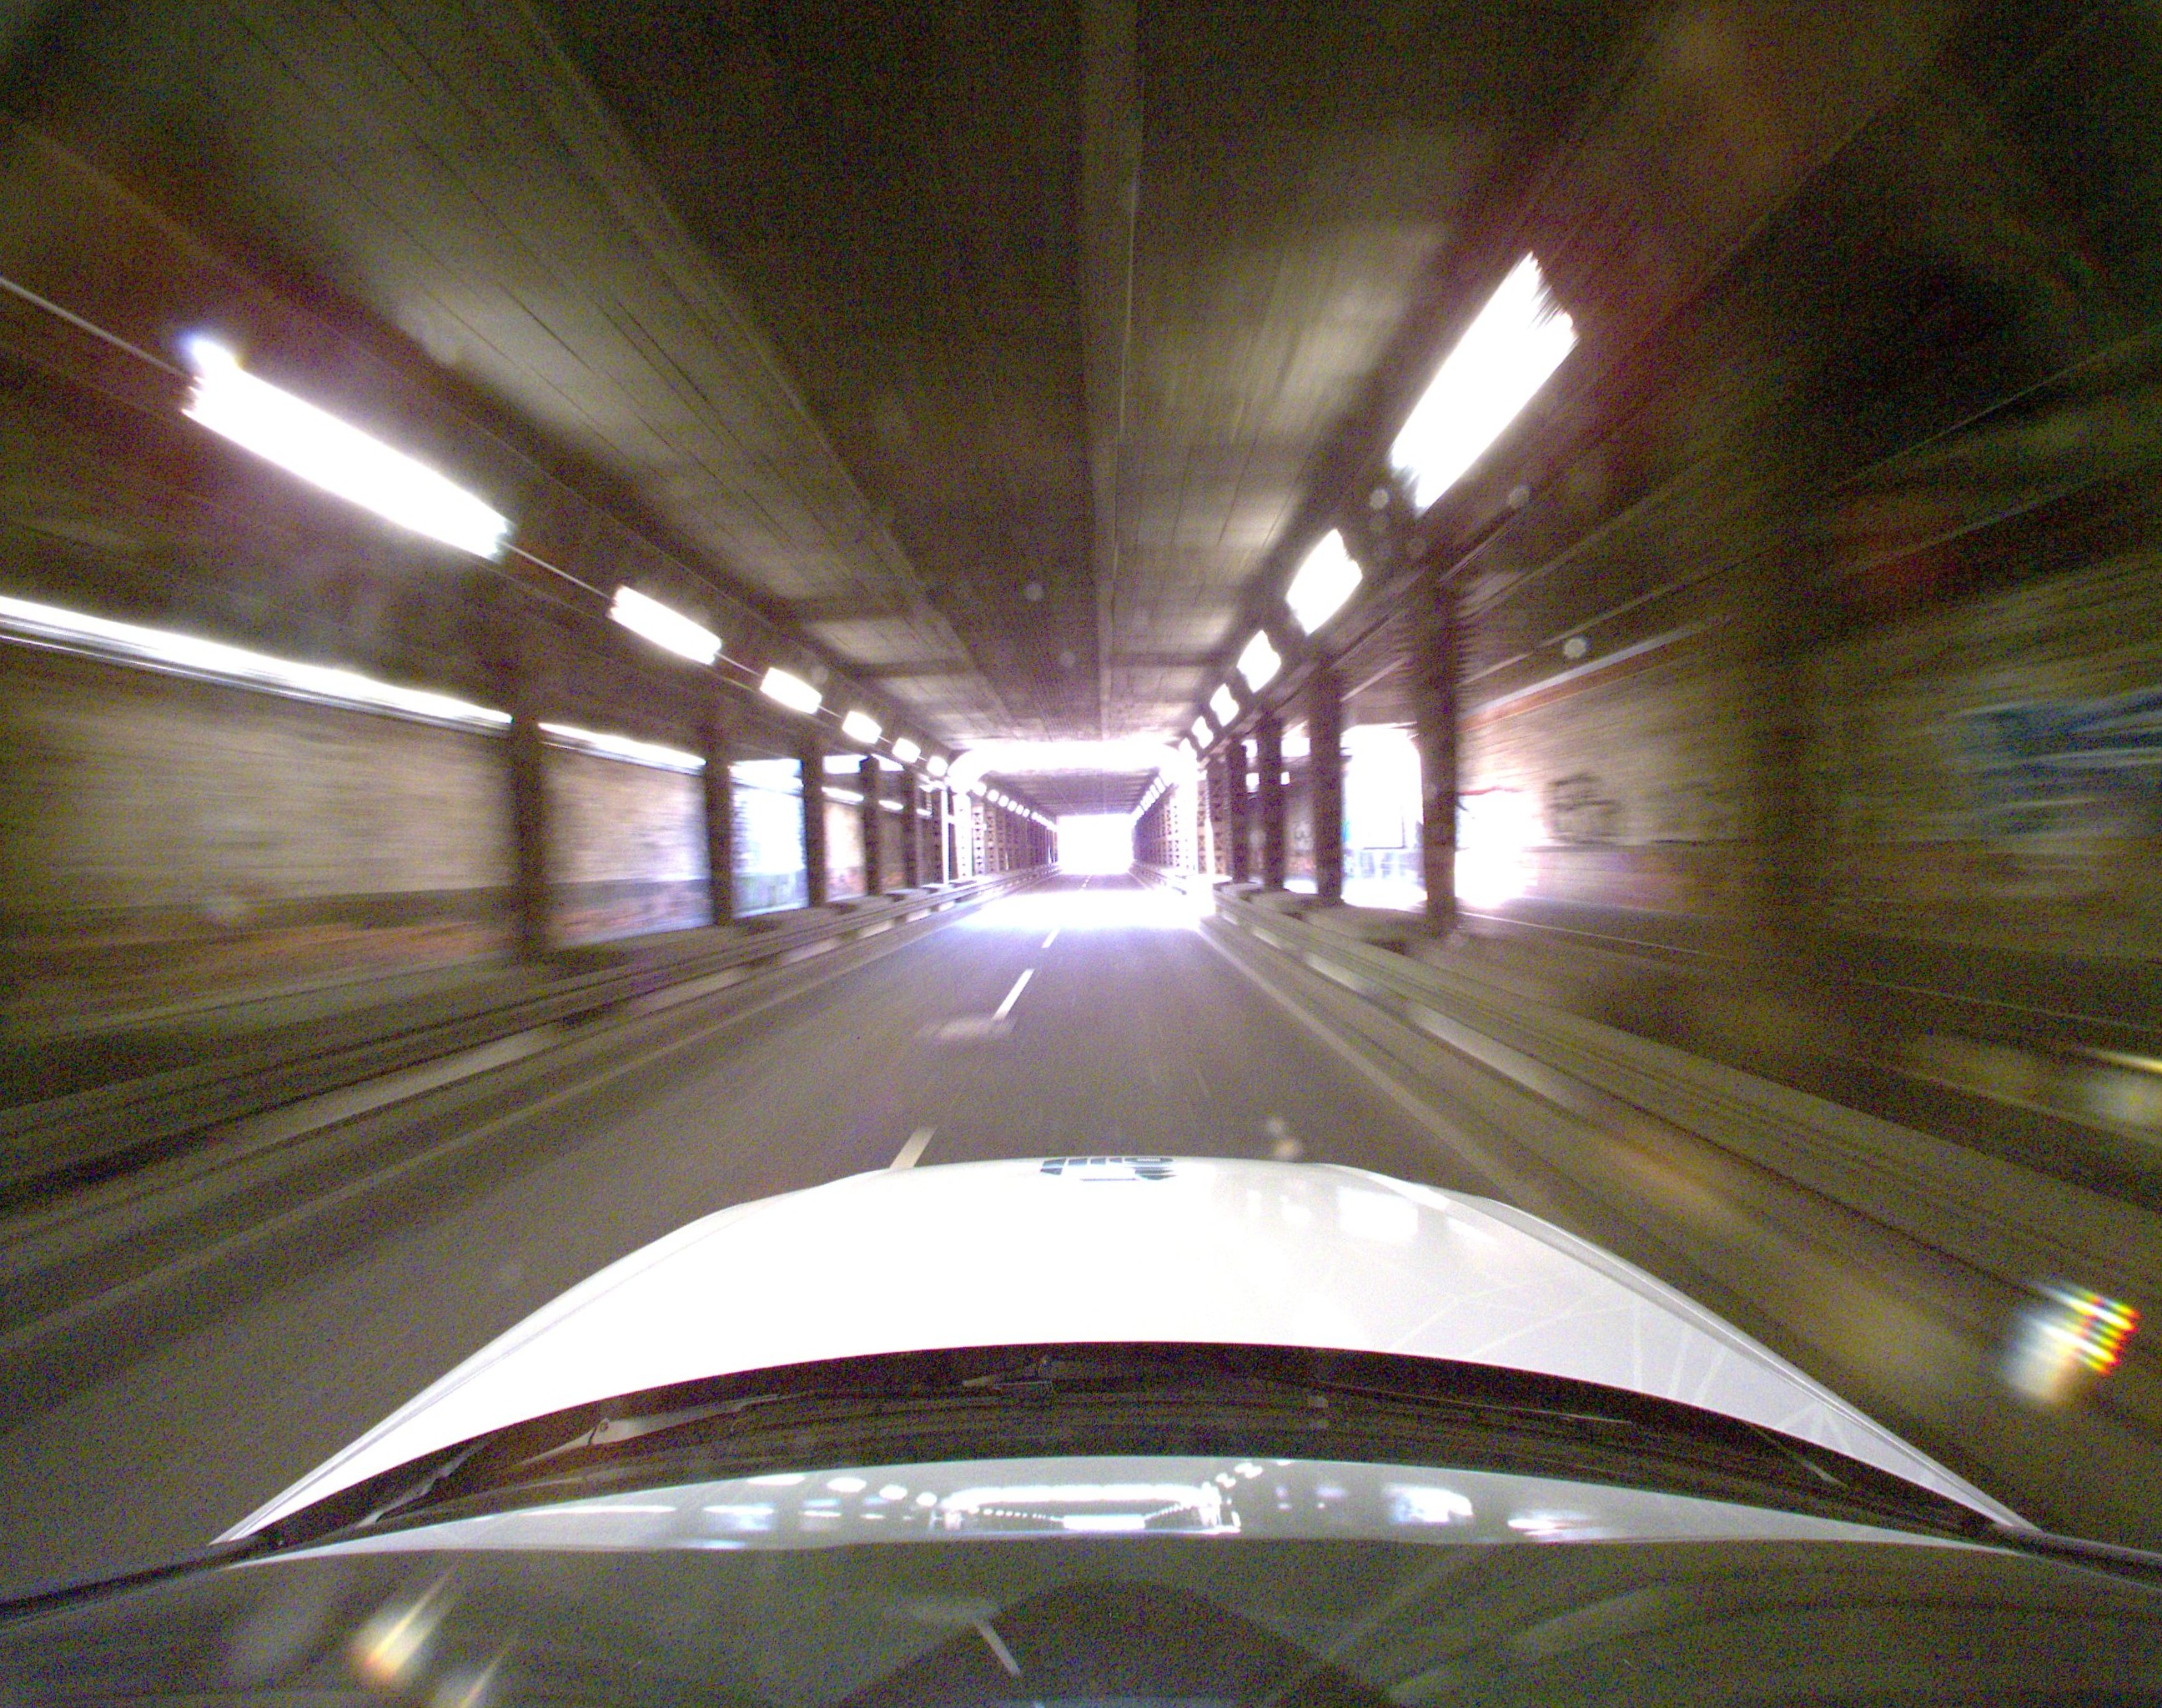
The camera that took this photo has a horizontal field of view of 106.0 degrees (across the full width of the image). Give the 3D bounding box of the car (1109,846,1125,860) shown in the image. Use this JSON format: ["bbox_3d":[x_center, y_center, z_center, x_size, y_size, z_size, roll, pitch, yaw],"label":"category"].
[{"bbox_3d":[4.879,-0.094,110.201,1.986,1.784,4.002,-3,0,2],"label":"car"}]

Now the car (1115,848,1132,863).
[{"bbox_3d":[5.198,0.171,100.092,1.986,1.784,4.002,-3,0,2],"label":"car"}]

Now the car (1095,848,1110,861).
[{"bbox_3d":[3.085,0.086,117.280,1.986,1.784,4.002,-3,0,2],"label":"car"}]
